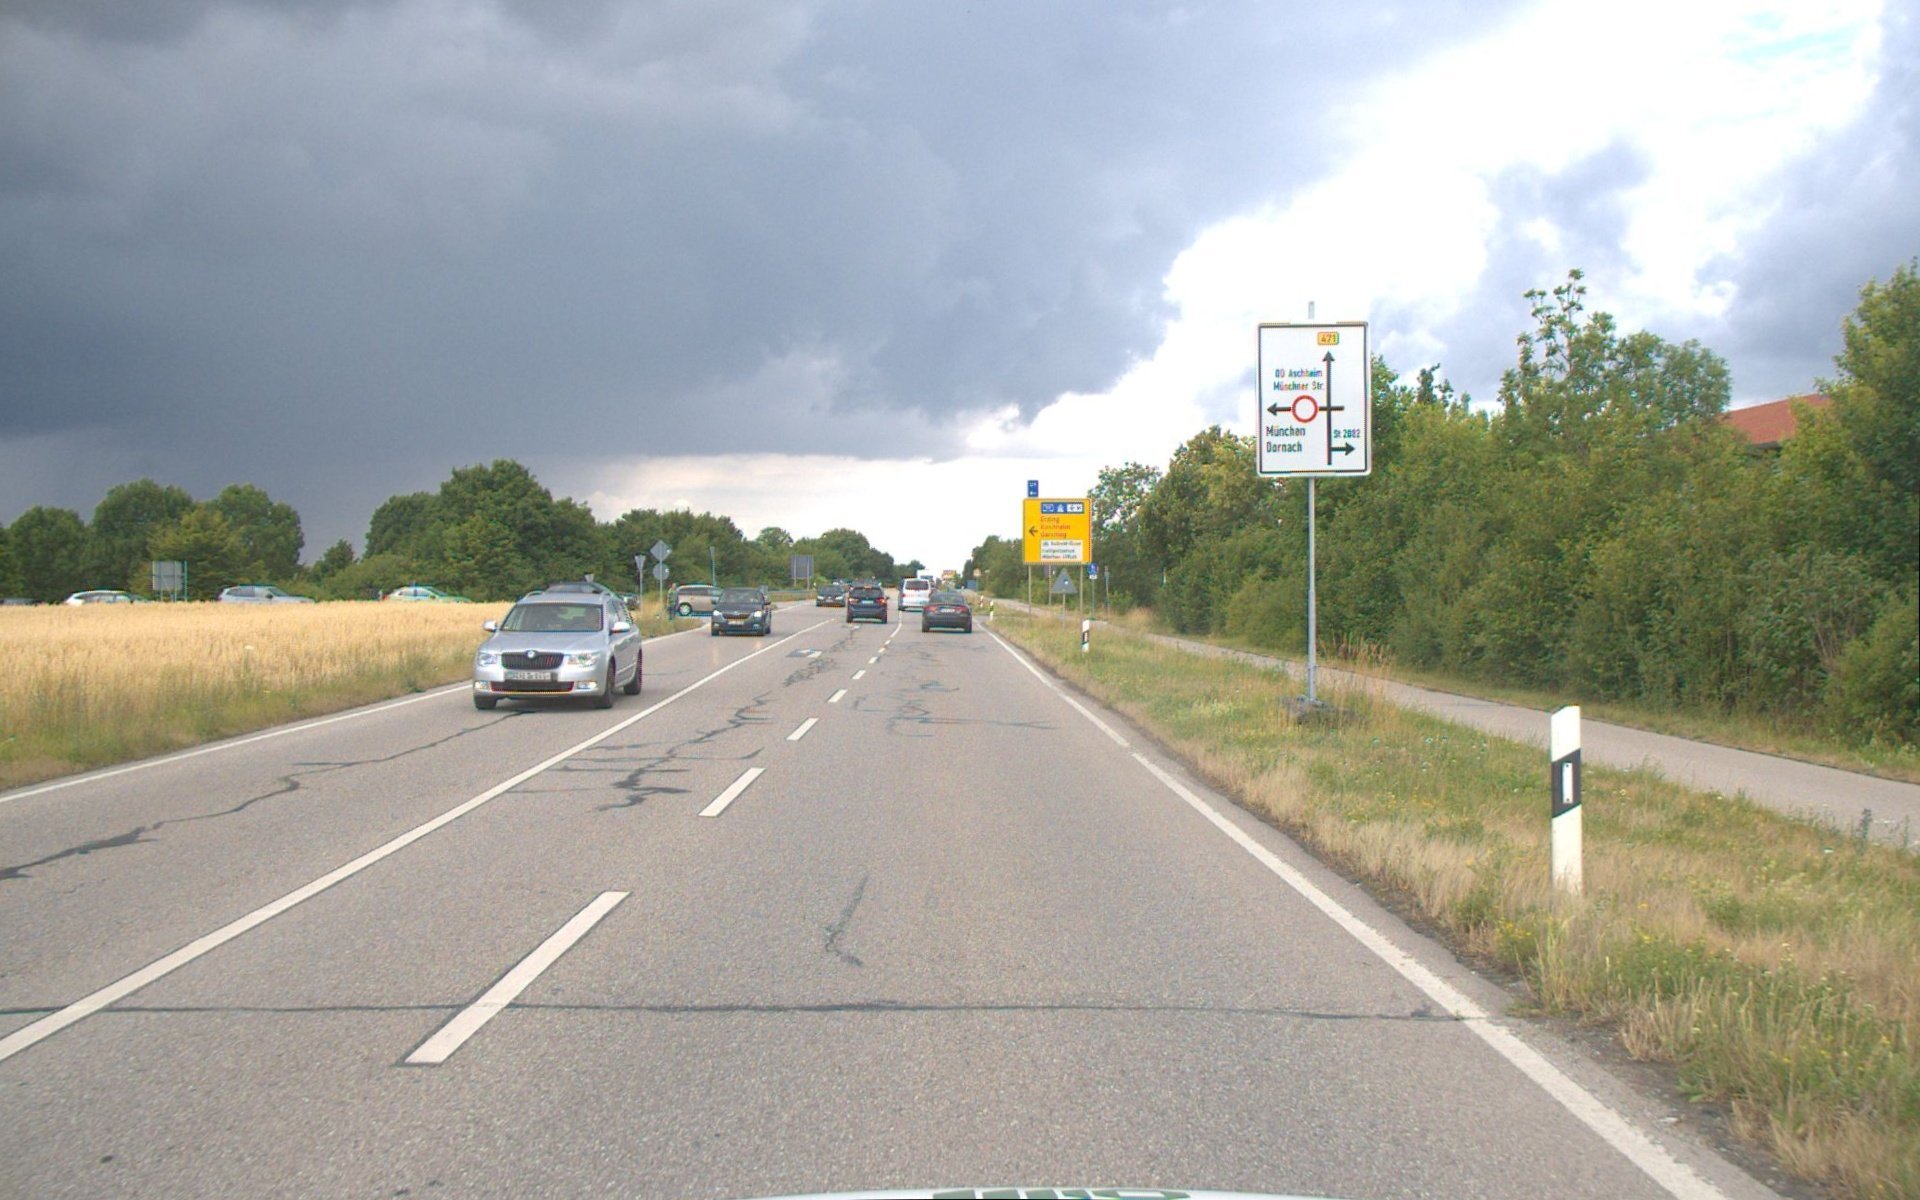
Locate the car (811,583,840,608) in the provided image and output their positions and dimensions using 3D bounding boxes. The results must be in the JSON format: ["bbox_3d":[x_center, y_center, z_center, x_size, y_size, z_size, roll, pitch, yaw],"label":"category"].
[{"bbox_3d":[-8.711,-0.287,107.279,1.612,1.618,3.999,0,0,-1],"label":"car"}]

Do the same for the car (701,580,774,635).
[{"bbox_3d":[-6.965,0.224,52.134,1.816,1.658,3.999,0,0,-1],"label":"car"}]

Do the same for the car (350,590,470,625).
[{"bbox_3d":[-26.727,0.359,80.425,5.197,1.678,1.867,0,0,3],"label":"car"}]

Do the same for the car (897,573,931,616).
[{"bbox_3d":[-2.763,-0.336,100.065,1.958,2.495,4.851,0,0,-1],"label":"car"}]

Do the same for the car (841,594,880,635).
[{"bbox_3d":[-4.318,0.592,72.359,1.540,1.731,3.999,0,0,-1],"label":"car"}]

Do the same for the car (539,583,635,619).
[{"bbox_3d":[-17.888,0.032,79.402,4.326,1.678,1.501,-1,0,-5],"label":"car"}]

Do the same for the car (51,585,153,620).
[{"bbox_3d":[-41.937,0.122,80.900,3.987,1.678,1.867,0,0,3],"label":"car"}]

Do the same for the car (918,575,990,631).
[{"bbox_3d":[-0.265,0.094,60.397,2.325,1.913,4.474,-2,0,-4],"label":"car"}]

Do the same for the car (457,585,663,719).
[{"bbox_3d":[-5.360,0.626,22.822,1.731,1.629,4.929,0,0,-1],"label":"car"}]

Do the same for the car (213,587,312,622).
[{"bbox_3d":[-34.031,0.212,80.746,3.987,1.678,1.867,0,0,3],"label":"car"}]

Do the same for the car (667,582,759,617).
[{"bbox_3d":[-11.970,-0.025,80.328,4.328,1.678,1.500,-1,0,-6],"label":"car"}]

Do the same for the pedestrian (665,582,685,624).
[{"bbox_3d":[-11.127,0.109,64.542,0.360,1.603,0.701,0,0,34],"label":"pedestrian"}]
